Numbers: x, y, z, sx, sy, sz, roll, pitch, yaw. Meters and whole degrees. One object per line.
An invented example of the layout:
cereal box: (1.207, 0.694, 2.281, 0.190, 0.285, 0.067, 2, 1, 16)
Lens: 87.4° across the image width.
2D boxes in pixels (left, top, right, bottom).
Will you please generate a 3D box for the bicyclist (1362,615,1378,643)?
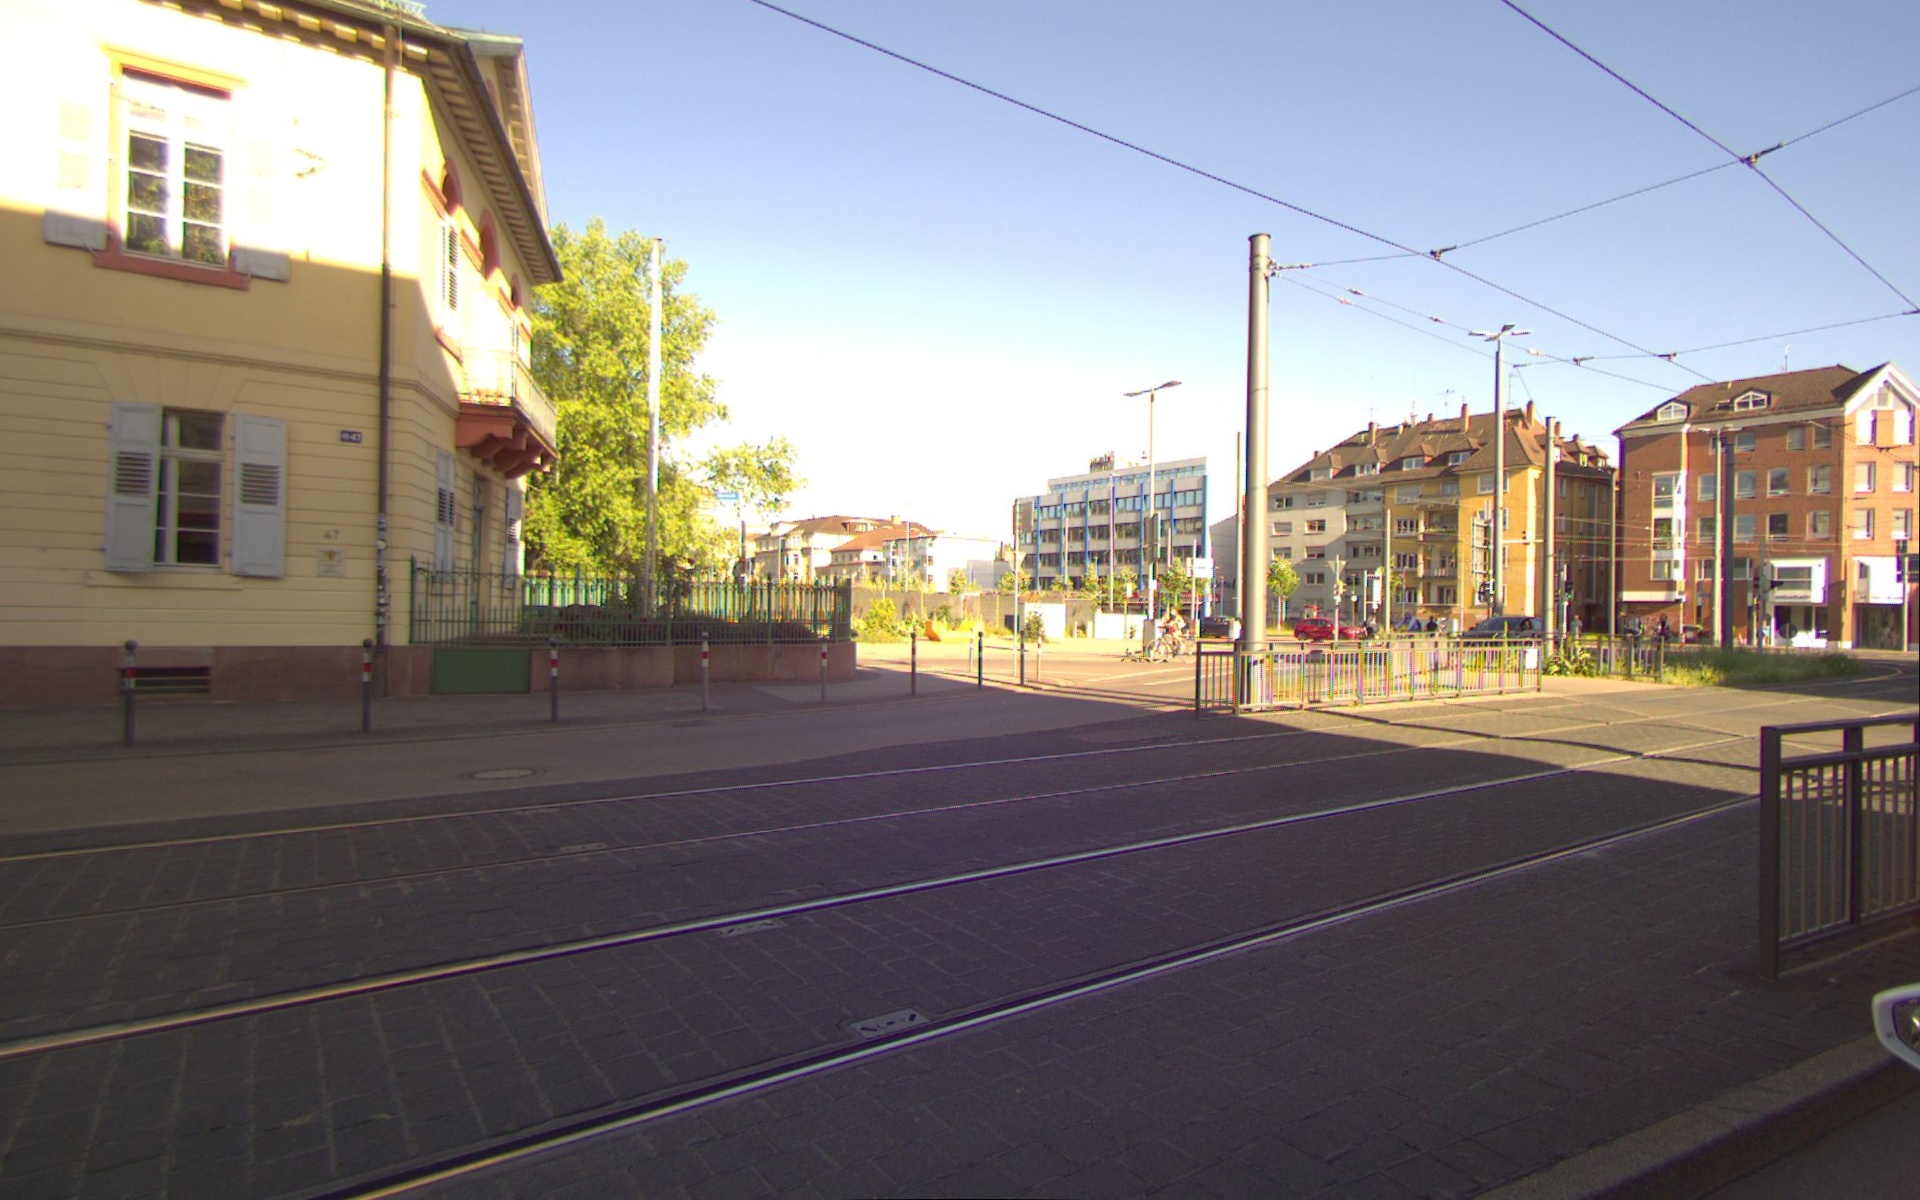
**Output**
bicyclist: (22.250, 1.564, 54.531, 0.605, 1.513, 0.608, 2, 0, -44)

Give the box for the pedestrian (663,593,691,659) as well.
pedestrian: (-8.111, 0.738, 28.736, 0.694, 1.841, 0.593, 2, 0, -20)

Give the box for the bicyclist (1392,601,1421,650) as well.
bicyclist: (15.708, 0.890, 35.360, 0.760, 1.695, 0.519, 2, 0, -25)

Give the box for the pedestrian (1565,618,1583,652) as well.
pedestrian: (31.280, 1.785, 51.175, 0.700, 1.711, 0.619, -1, 2, -42)

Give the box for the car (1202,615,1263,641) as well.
car: (17.708, 1.817, 65.446, 1.560, 1.491, 3.673, 2, 0, -36)

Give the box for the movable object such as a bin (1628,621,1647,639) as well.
movable object such as a bin: (54.574, 2.407, 80.916, 1.087, 1.456, 0.988, 2, 0, -39)

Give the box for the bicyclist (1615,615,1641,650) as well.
bicyclist: (28.938, 1.422, 43.498, 0.721, 1.473, 0.661, 2, 0, -28)

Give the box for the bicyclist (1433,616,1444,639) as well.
bicyclist: (27.550, 1.574, 57.868, 0.453, 1.333, 0.397, 2, 0, 44)

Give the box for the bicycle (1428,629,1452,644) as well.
bicycle: (27.615, 2.090, 57.792, 1.160, 0.774, 0.318, 2, 0, 45)

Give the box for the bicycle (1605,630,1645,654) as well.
bicycle: (28.777, 1.816, 43.467, 1.862, 1.027, 0.647, 2, 0, -29)

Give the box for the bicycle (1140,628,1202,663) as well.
bicycle: (6.438, 1.401, 30.638, 1.870, 1.027, 0.528, 2, 0, -24)

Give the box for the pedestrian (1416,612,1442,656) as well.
pedestrian: (21.310, 1.522, 45.643, 0.787, 1.959, 0.721, 2, 0, -23)

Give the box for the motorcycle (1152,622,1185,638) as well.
motorcycle: (14.468, 2.077, 69.731, 0.784, 0.997, 2.342, 2, 0, -36)

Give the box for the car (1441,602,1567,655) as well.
car: (17.454, 0.908, 32.214, 4.074, 1.581, 1.676, 2, 0, -30)

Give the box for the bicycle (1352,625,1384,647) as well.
bicycle: (22.169, 1.964, 54.598, 0.608, 1.148, 1.481, 2, 0, -43)

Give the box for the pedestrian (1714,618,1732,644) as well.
pedestrian: (50.520, 2.044, 66.479, 0.921, 1.733, 0.690, 2, 0, -36)

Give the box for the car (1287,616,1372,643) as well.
car: (21.927, 1.724, 59.696, 1.768, 1.529, 4.513, 1, -2, -39)

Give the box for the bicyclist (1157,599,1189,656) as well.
bicyclist: (6.504, 0.838, 30.663, 0.759, 1.695, 0.523, 2, 0, -24)

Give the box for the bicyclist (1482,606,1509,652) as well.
bicyclist: (20.269, 1.094, 38.018, 0.761, 1.695, 0.518, 2, 0, -29)

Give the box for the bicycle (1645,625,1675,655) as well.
bicycle: (31.357, 1.795, 45.007, 2.010, 1.308, 0.569, 2, 0, -40)

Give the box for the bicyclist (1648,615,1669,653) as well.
bicyclist: (31.179, 1.508, 44.839, 0.800, 1.671, 0.583, 2, 0, -42)

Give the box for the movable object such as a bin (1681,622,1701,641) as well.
movable object such as a bin: (56.722, 2.431, 77.986, 1.087, 1.456, 0.988, 2, 0, -39)

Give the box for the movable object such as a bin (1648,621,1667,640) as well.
movable object such as a bin: (55.477, 2.435, 79.898, 1.087, 1.456, 0.988, 2, 0, -39)

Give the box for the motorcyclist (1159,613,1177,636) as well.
motorcyclist: (14.462, 1.721, 69.740, 0.775, 1.544, 0.914, 2, 0, -36)

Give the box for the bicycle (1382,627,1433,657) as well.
bicycle: (15.766, 1.493, 35.403, 1.859, 1.027, 0.528, 2, 0, -25)
